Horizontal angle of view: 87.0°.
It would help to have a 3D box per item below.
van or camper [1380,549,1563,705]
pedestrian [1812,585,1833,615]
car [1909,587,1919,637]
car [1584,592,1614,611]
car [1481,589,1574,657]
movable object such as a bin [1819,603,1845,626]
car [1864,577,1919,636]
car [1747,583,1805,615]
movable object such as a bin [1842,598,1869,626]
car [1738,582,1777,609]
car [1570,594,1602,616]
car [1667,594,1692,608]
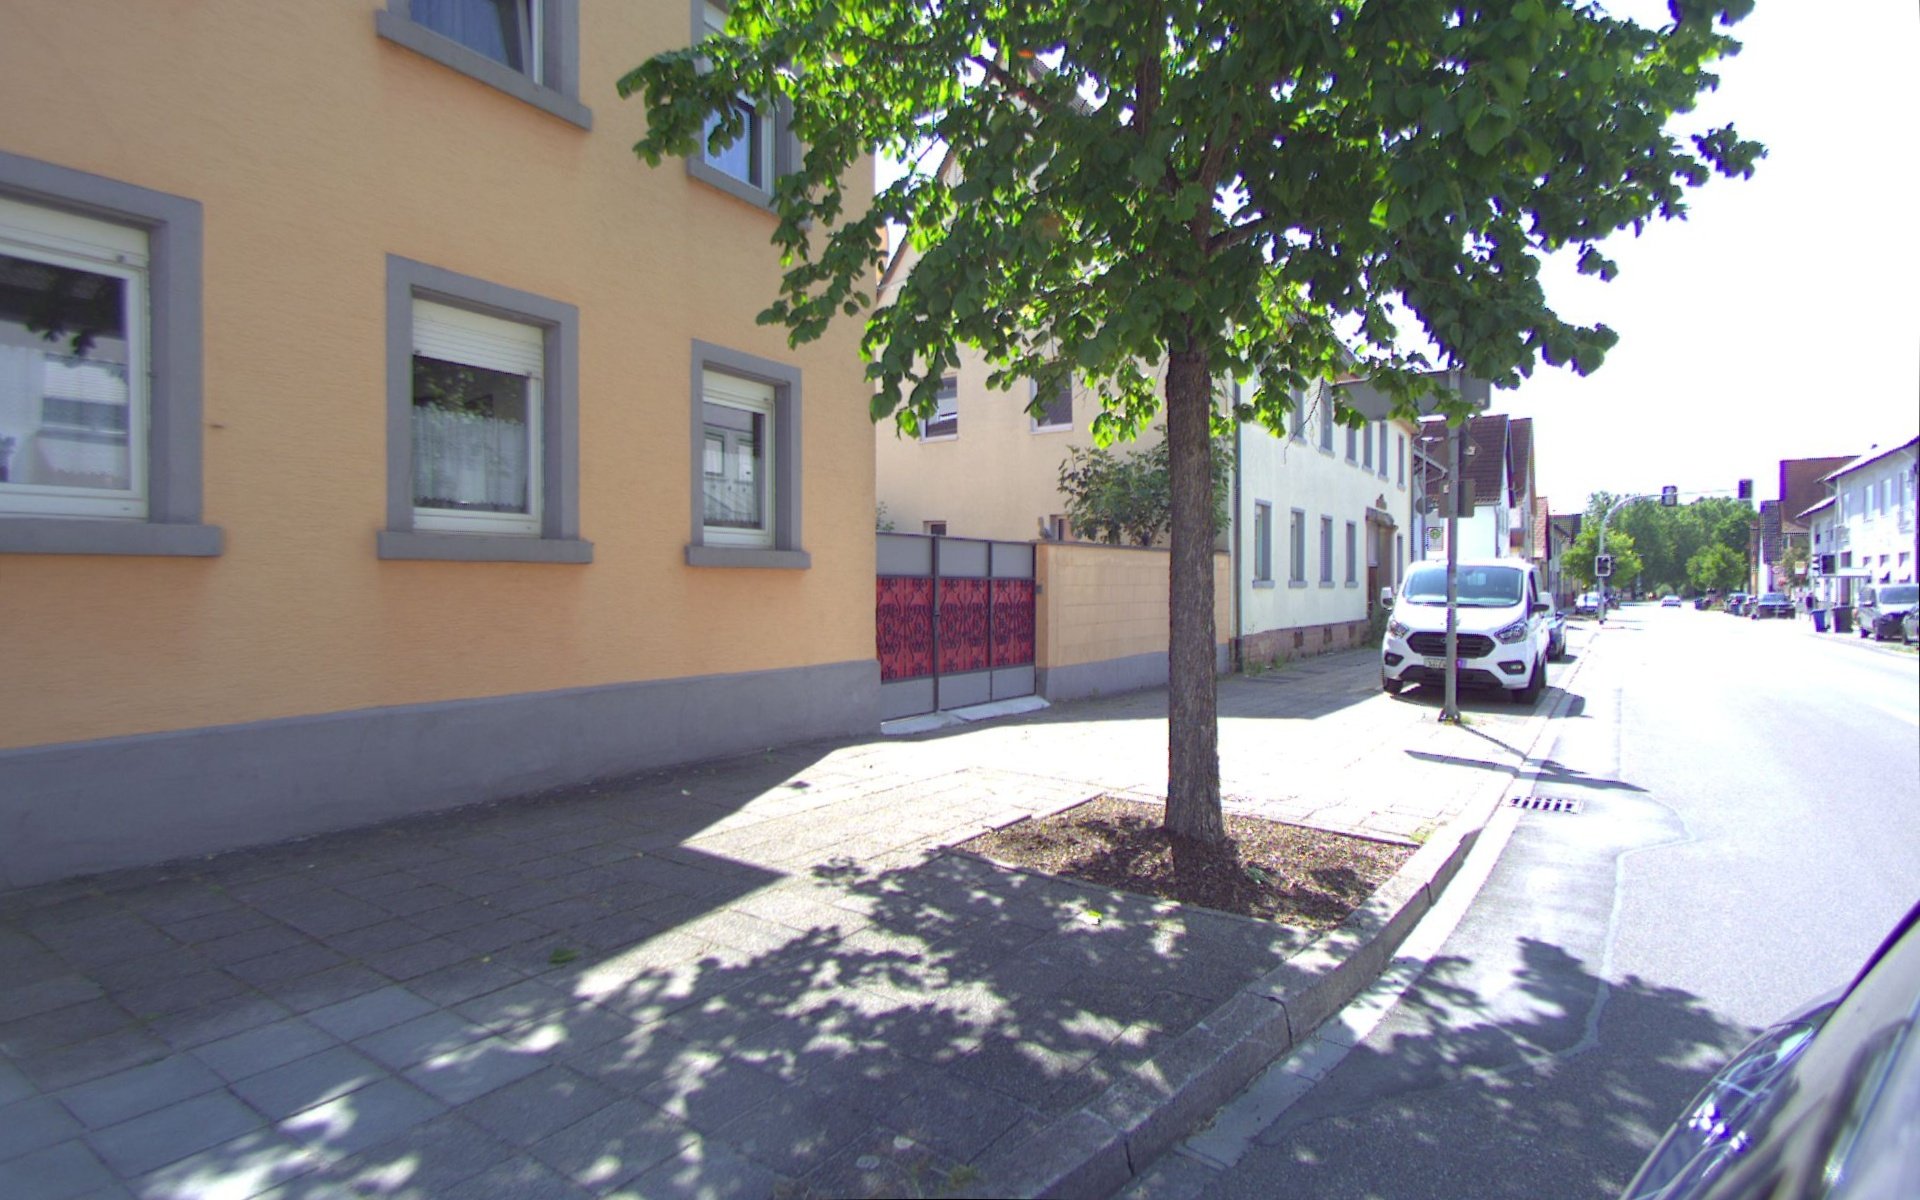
[{"bbox_3d":[8.019,0.291,15.567,1.985,1.978,5.284,1,1,33],"label":"van or camper"},{"bbox_3d":[44.692,-0.003,52.448,0.748,1.551,0.574,-1,0,33],"label":"pedestrian"},{"bbox_3d":[28.942,0.358,29.200,1.679,1.501,3.574,-1,0,34],"label":"car"},{"bbox_3d":[52.260,0.112,82.784,1.985,1.505,3.953,0,0,33],"label":"car"},{"bbox_3d":[13.636,0.479,24.209,1.721,1.445,3.939,1,1,33],"label":"car"},{"bbox_3d":[36.204,0.590,42.023,0.713,0.924,0.544,-1,0,32],"label":"movable object such as a bin"},{"bbox_3d":[32.056,0.180,33.983,1.987,1.871,4.893,-1,0,35],"label":"car"},{"bbox_3d":[49.236,-0.095,61.151,2.342,1.871,4.894,1,1,35],"label":"car"},{"bbox_3d":[35.895,0.475,40.577,0.713,1.080,0.544,-1,0,32],"label":"movable object such as a bin"},{"bbox_3d":[58.426,-0.343,74.185,1.987,1.871,4.893,1,1,35],"label":"car"},{"bbox_3d":[46.068,0.346,74.462,1.985,1.505,3.953,0,0,33],"label":"car"},{"bbox_3d":[81.151,0.102,114.119,1.991,1.549,3.942,0,0,40],"label":"car"}]
